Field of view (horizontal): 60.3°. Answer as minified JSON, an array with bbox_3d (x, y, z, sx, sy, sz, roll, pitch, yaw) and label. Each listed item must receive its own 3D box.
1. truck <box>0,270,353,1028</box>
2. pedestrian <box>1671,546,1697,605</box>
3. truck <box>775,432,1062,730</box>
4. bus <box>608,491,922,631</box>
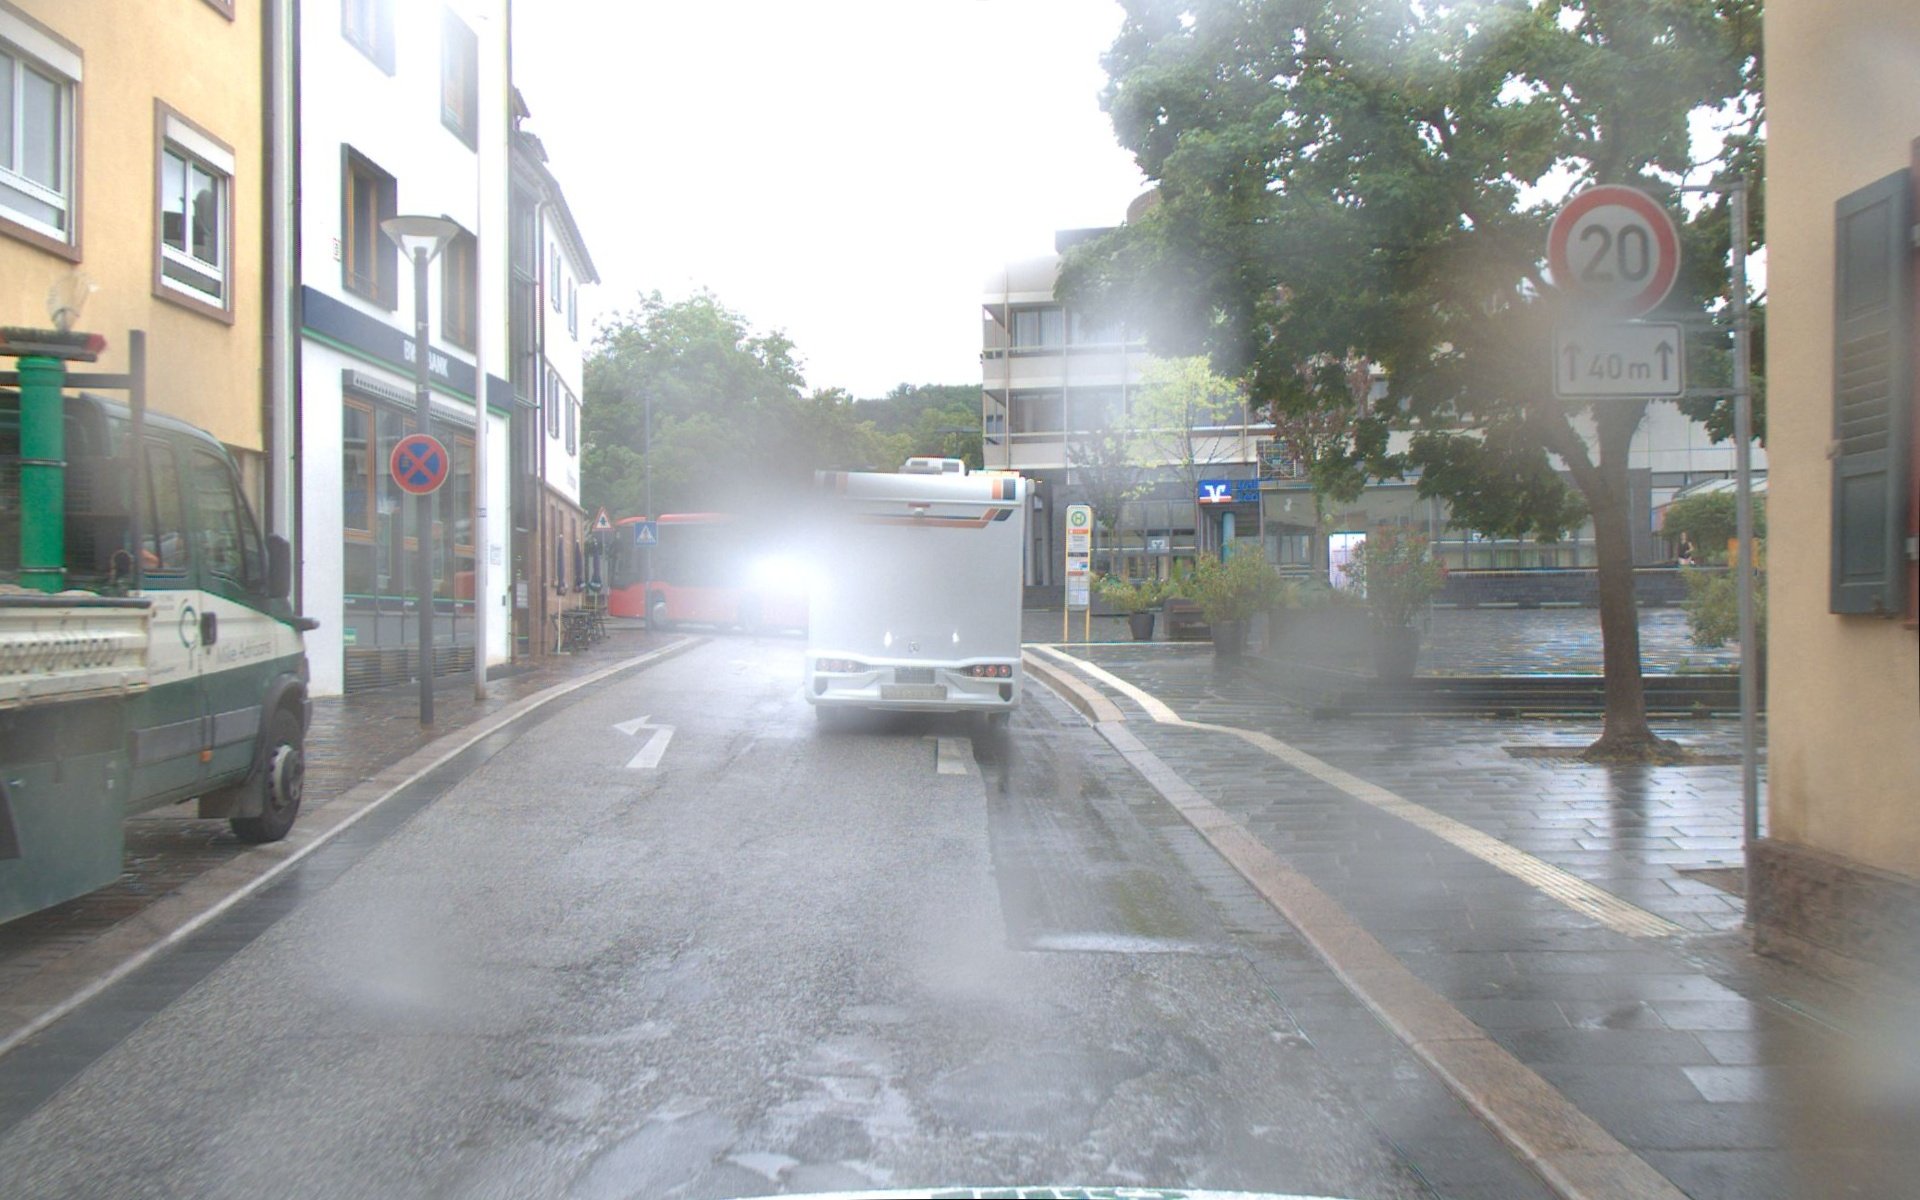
[{"bbox_3d":[-4.664,0.121,7.016,2.353,2.639,6.476,-1,2,-6],"label":"truck"},{"bbox_3d":[27.069,-0.923,61.880,0.742,2.185,0.659,-2,0,16],"label":"pedestrian"},{"bbox_3d":[-0.388,-0.187,19.401,2.748,2.845,6.107,-2,0,0],"label":"truck"},{"bbox_3d":[-5.425,-0.890,43.851,3.008,3.201,9.990,-2,0,-42],"label":"bus"}]
